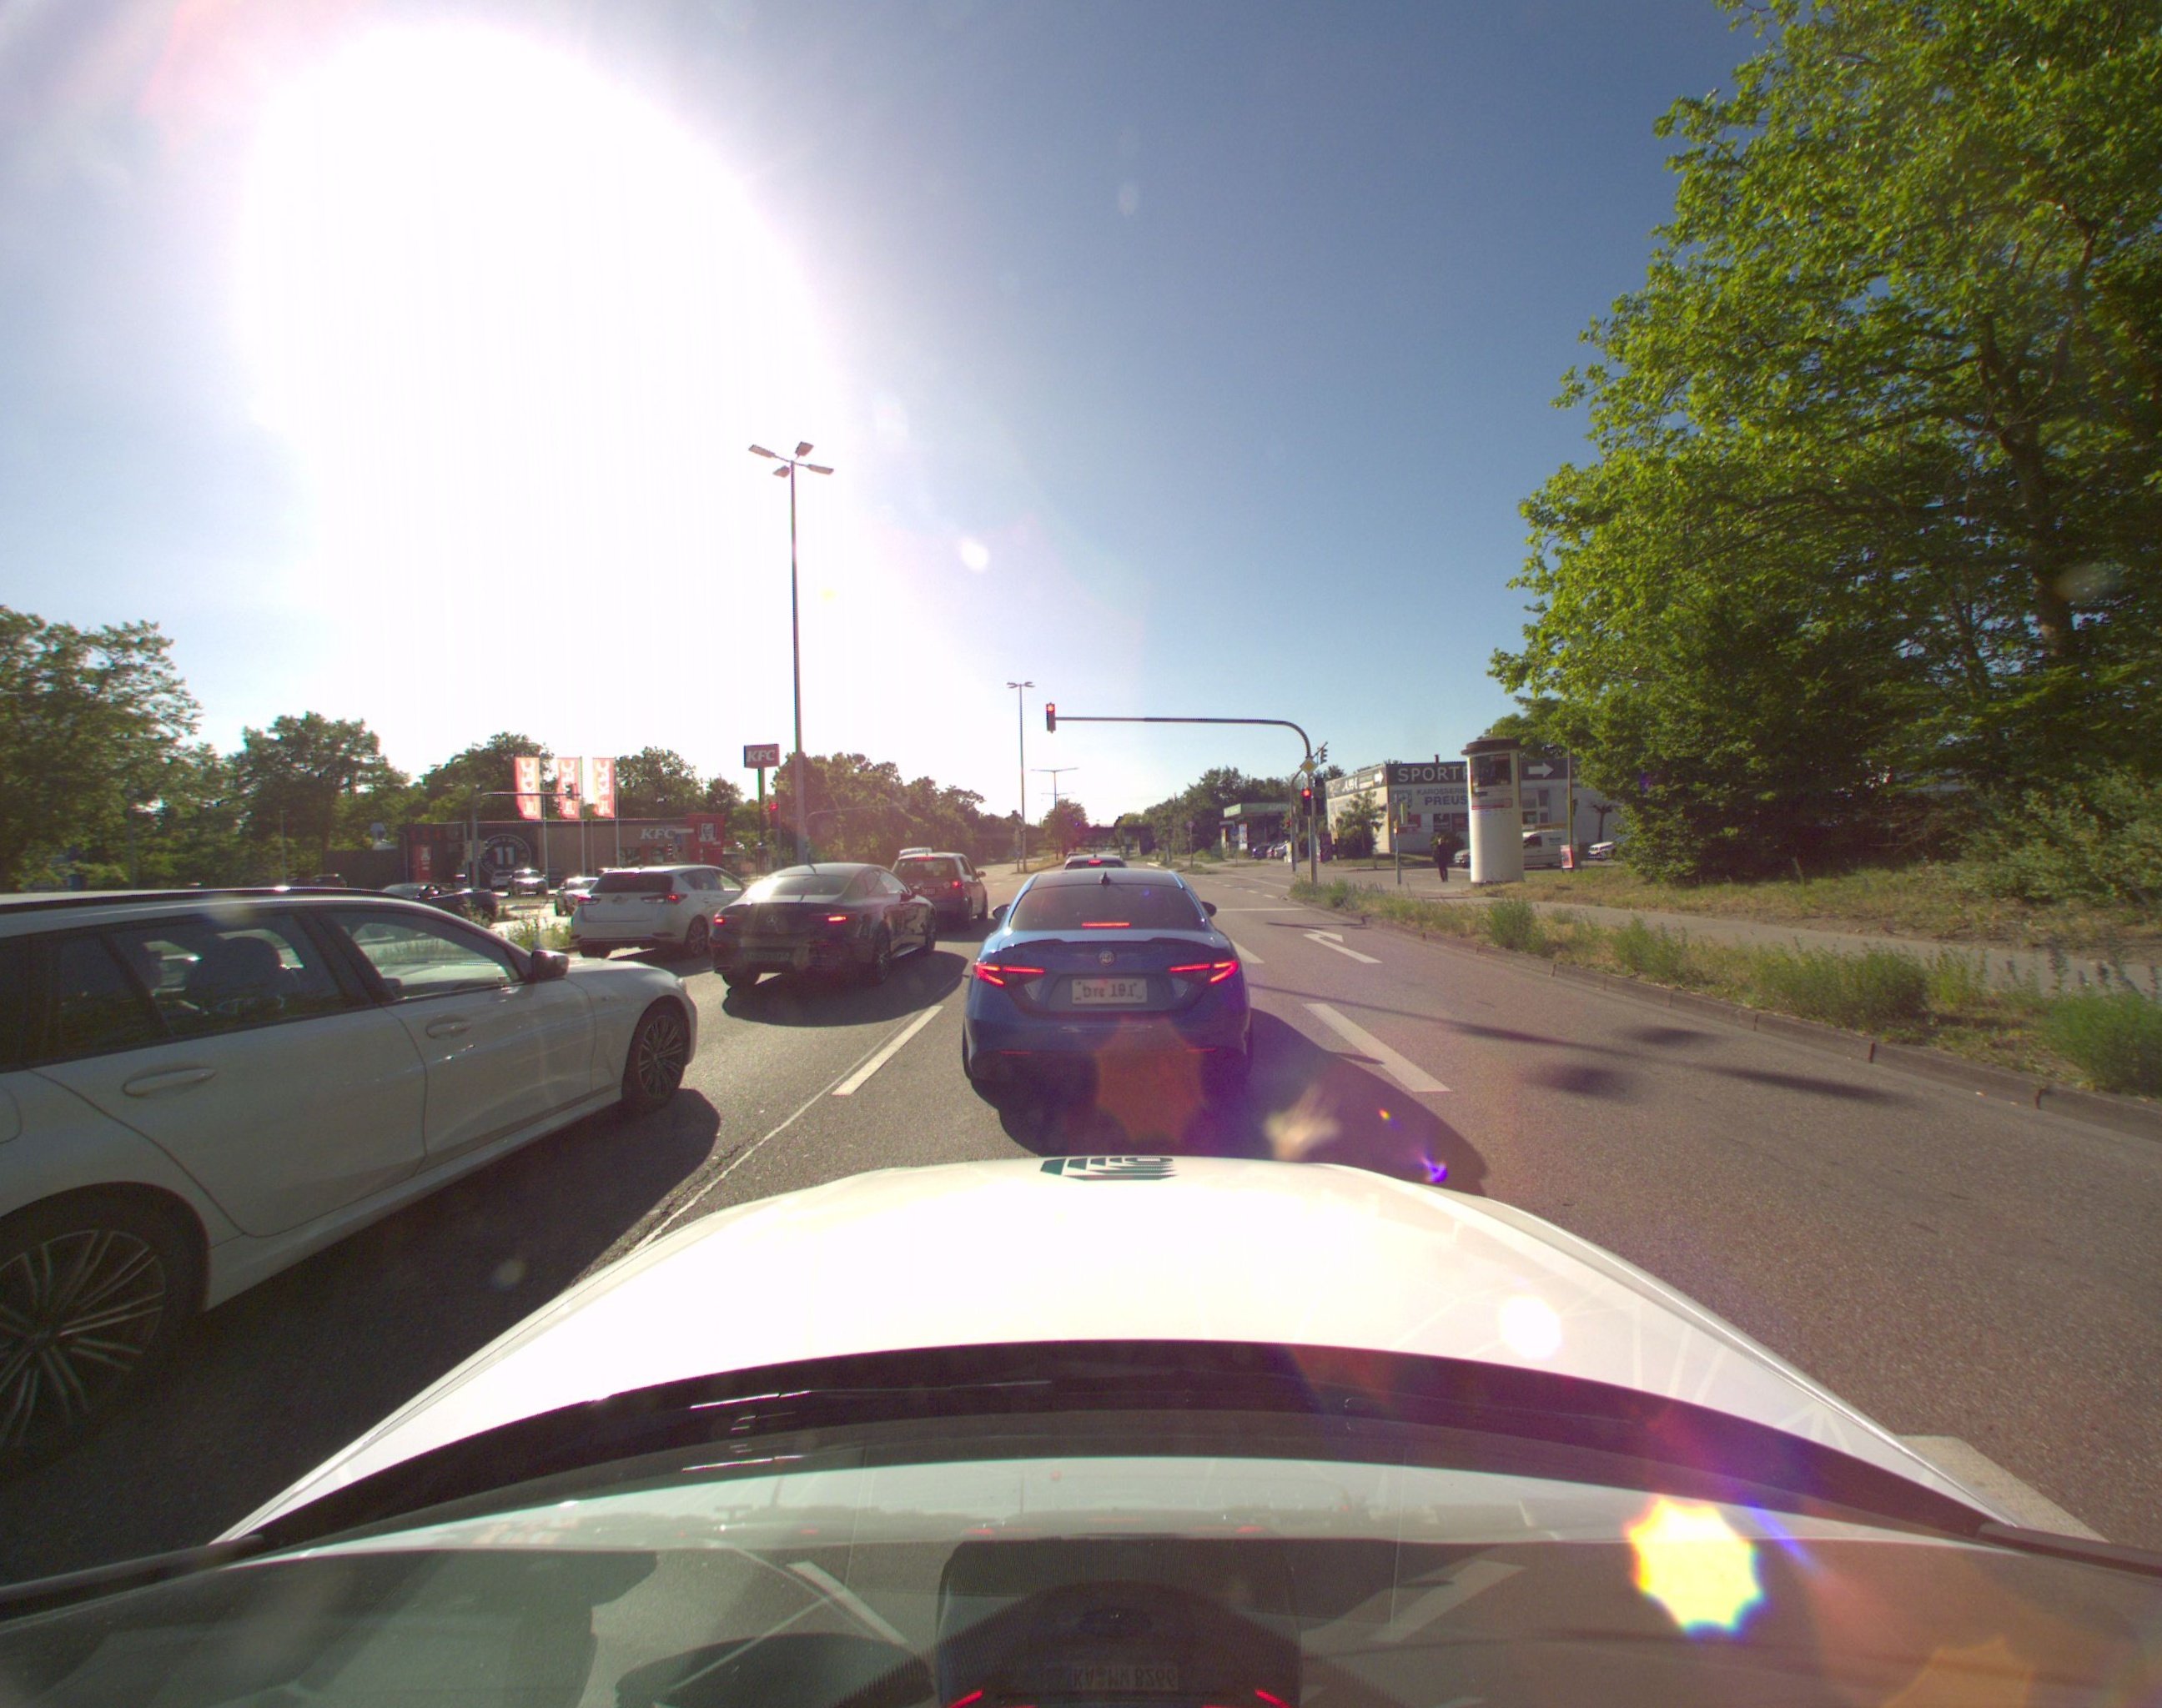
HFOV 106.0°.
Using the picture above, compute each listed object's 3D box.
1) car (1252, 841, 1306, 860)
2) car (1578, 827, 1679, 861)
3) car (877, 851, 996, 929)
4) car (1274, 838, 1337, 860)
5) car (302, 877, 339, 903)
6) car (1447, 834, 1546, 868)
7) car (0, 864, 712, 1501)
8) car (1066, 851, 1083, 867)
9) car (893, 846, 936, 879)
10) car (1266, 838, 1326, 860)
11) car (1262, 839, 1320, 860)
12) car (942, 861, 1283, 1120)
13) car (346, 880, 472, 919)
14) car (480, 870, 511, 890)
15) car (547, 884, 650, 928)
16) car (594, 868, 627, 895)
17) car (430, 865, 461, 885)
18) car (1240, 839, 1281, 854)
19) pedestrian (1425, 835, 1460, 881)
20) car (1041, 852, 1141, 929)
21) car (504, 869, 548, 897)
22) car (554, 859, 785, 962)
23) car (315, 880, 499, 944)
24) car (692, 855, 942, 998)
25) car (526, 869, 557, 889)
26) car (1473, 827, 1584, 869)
[{"bbox_3d":[17.947,-0.344,73.925,4.470,1.454,1.860,-4,0,3],"label":"car"},{"bbox_3d":[28.628,-0.507,42.664,4.028,1.490,1.782,-3,0,-1],"label":"car"},{"bbox_3d":[-3.025,0.718,17.933,1.753,1.490,4.403,0,-1,1],"label":"car"},{"bbox_3d":[17.705,-0.415,64.342,4.470,1.454,1.860,-4,0,3],"label":"car"},{"bbox_3d":[-52.370,2.464,56.117,1.670,1.673,3.897,0,-1,-40],"label":"car"},{"bbox_3d":[21.768,-0.189,42.733,4.273,1.549,1.765,-3,1,0],"label":"car"},{"bbox_3d":[-3.427,0.803,3.325,1.779,1.490,4.403,0,-1,1],"label":"car"},{"bbox_3d":[-0.724,0.606,93.923,1.884,1.816,4.001,0,-1,2],"label":"car"},{"bbox_3d":[-13.691,0.696,67.241,2.015,2.447,5.823,-5,0,1],"label":"car"},{"bbox_3d":[17.710,-0.401,67.122,4.470,1.454,1.860,-4,0,3],"label":"car"},{"bbox_3d":[17.988,-0.372,69.871,4.470,1.454,1.860,-4,0,3],"label":"car"},{"bbox_3d":[0.207,0.776,6.734,1.889,1.418,4.403,0,0,1],"label":"car"},{"bbox_3d":[-31.244,2.100,37.936,4.392,1.490,1.766,-4,0,3],"label":"car"},{"bbox_3d":[-45.636,2.026,63.428,1.670,1.471,3.872,0,-1,-40],"label":"car"},{"bbox_3d":[-19.093,2.006,32.472,1.725,1.409,4.299,-4,0,-4],"label":"car"},{"bbox_3d":[-33.666,1.935,58.362,1.920,1.752,4.315,0,-1,-29],"label":"car"},{"bbox_3d":[-47.636,1.565,61.012,1.670,1.471,3.872,0,-1,-40],"label":"car"},{"bbox_3d":[21.391,-0.869,97.034,4.532,1.490,1.766,-4,0,3],"label":"car"},{"bbox_3d":[14.108,0.159,31.800,0.922,1.735,0.939,0,-1,1],"label":"pedestrian"},{"bbox_3d":[0.218,0.698,17.378,1.844,1.418,4.403,0,0,1],"label":"car"},{"bbox_3d":[-37.335,1.940,54.882,2.005,1.765,4.315,0,-1,-29],"label":"car"},{"bbox_3d":[-6.736,0.838,13.914,1.753,1.490,4.197,0,-1,1],"label":"car"},{"bbox_3d":[-18.769,1.562,22.963,1.753,1.409,3.979,-4,0,1],"label":"car"},{"bbox_3d":[-3.170,0.783,10.830,1.790,1.490,4.476,0,-1,1],"label":"car"},{"bbox_3d":[-43.144,1.958,65.081,1.670,1.471,3.872,0,-1,-40],"label":"car"},{"bbox_3d":[21.576,-0.317,39.357,4.367,1.801,1.765,-3,1,0],"label":"car"}]
